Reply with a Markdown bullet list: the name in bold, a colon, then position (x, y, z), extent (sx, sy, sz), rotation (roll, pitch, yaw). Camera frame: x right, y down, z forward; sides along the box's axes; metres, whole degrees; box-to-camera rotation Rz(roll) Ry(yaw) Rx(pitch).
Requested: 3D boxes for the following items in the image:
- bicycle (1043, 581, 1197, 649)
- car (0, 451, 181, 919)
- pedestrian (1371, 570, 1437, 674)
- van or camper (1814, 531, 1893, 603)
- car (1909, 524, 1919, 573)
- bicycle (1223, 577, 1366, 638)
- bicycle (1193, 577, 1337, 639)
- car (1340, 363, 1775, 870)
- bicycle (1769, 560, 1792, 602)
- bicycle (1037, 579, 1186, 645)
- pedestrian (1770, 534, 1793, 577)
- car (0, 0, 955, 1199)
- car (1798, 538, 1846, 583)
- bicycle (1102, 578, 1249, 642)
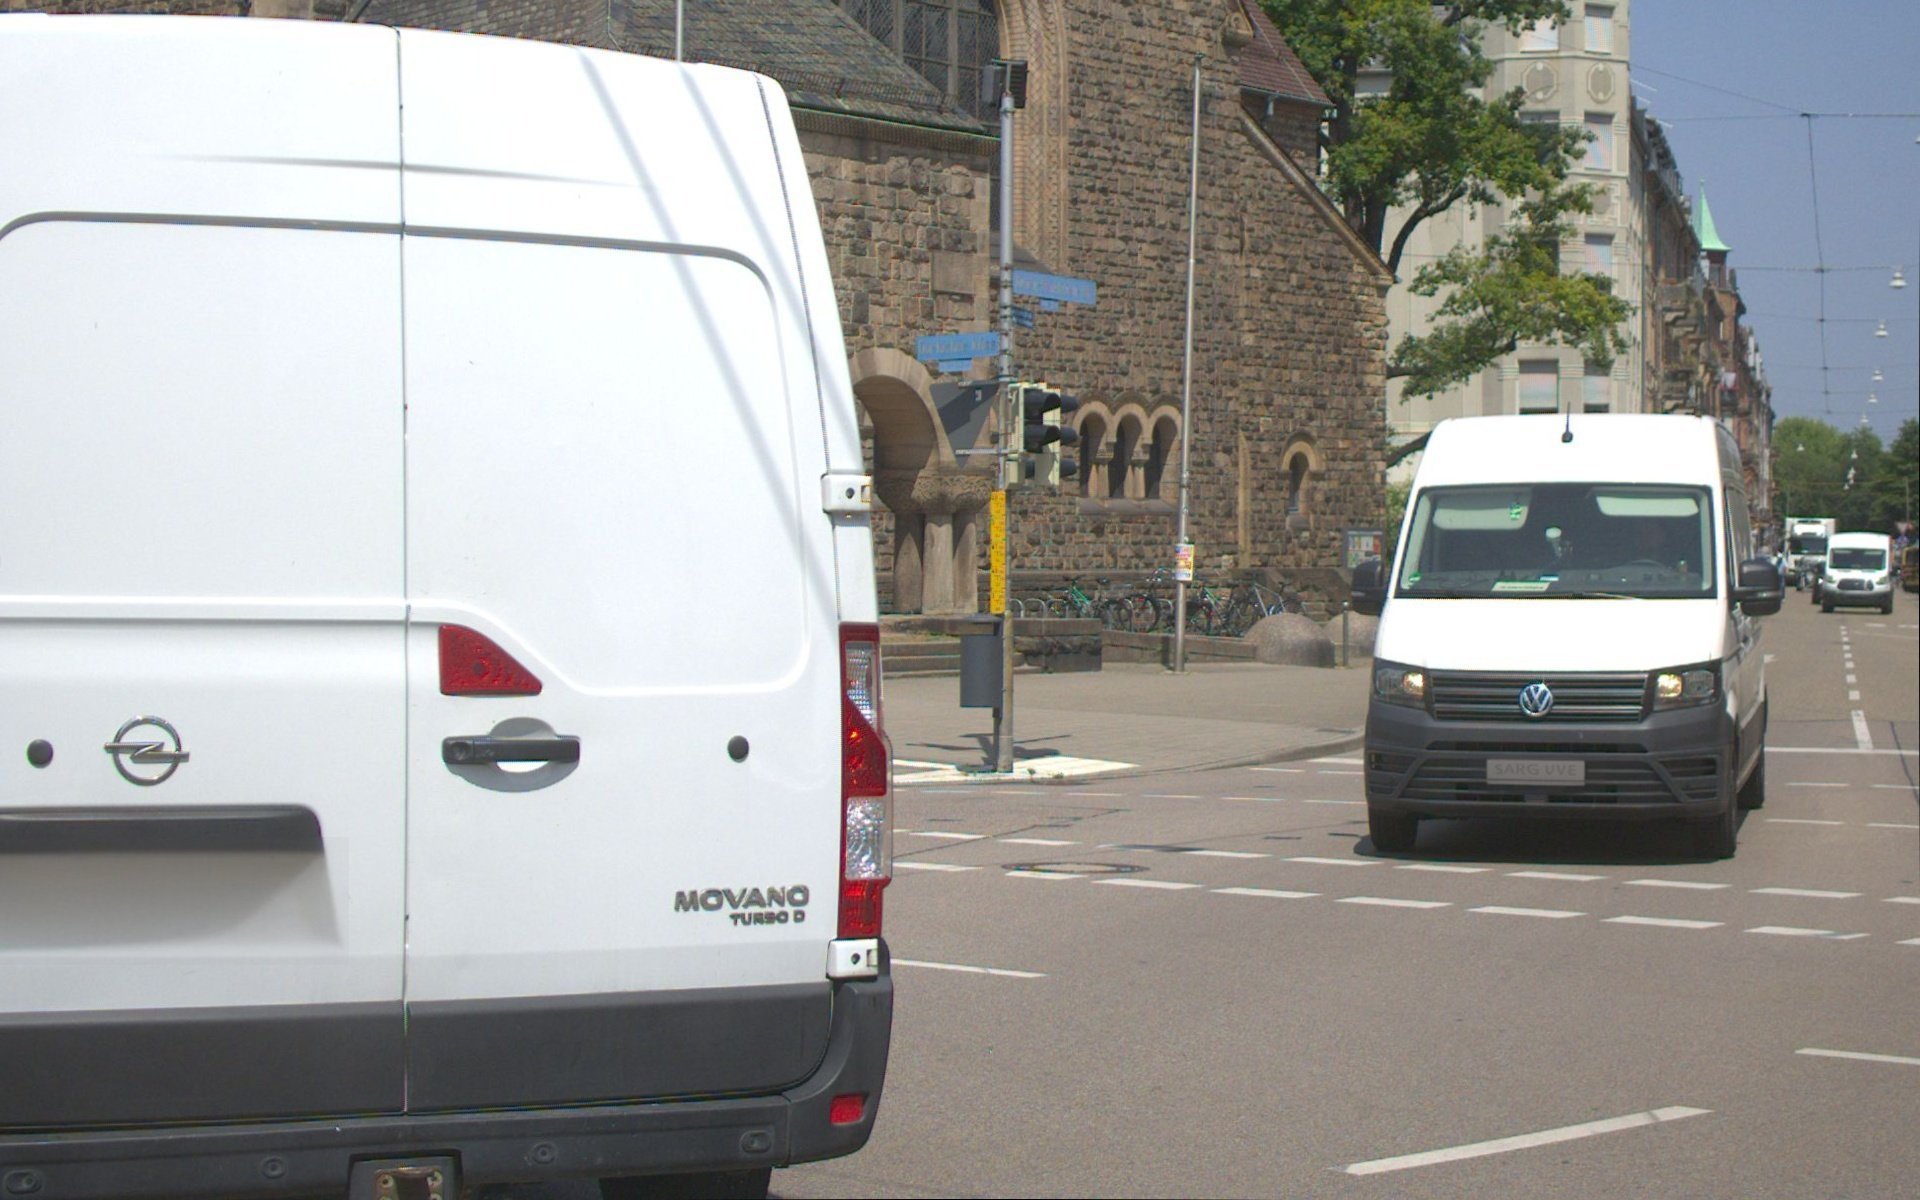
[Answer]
- **bicycle**: position (2.491, 0.219, 53.742), extent (2.496, 1.008, 0.704), rotation (1, 1, 41)
- **car**: position (-5.167, 0.335, 16.000), extent (1.916, 1.937, 4.264), rotation (0, 1, -29)
- **pedestrian**: position (6.687, 0.325, 51.791), extent (0.720, 1.553, 0.790), rotation (0, 0, 33)
- **van or camper**: position (27.128, -1.025, 104.492), extent (2.037, 2.134, 4.578), rotation (0, 1, 11)
- **car**: position (40.418, -2.122, 142.191), extent (1.908, 2.007, 3.996), rotation (-1, 0, 21)
- **bicycle**: position (5.752, 0.114, 59.214), extent (2.496, 1.008, 0.704), rotation (1, 1, 41)
- **bicycle**: position (5.169, 0.126, 58.425), extent (2.496, 1.008, 0.704), rotation (1, 1, 41)
- **car**: position (3.881, 0.023, 21.284), extent (2.072, 2.628, 6.629), rotation (0, 1, 15)
- **bicycle**: position (27.209, -0.641, 114.027), extent (0.673, 1.354, 2.068), rotation (0, 1, 12)
- **bicycle**: position (2.429, 0.187, 55.372), extent (2.496, 1.008, 0.704), rotation (1, 1, 41)
- **pedestrian**: position (27.250, -1.494, 114.070), extent (0.730, 1.415, 0.798), rotation (0, 1, 12)
- **car**: position (-1.985, 0.170, 8.392), extent (2.116, 2.450, 5.055), rotation (0, 1, -23)
- **car**: position (39.181, -1.806, 156.241), extent (1.995, 2.007, 3.997), rotation (0, 1, 16)
- **bicycle**: position (3.545, 0.160, 56.687), extent (2.496, 1.008, 0.704), rotation (1, 1, 41)
